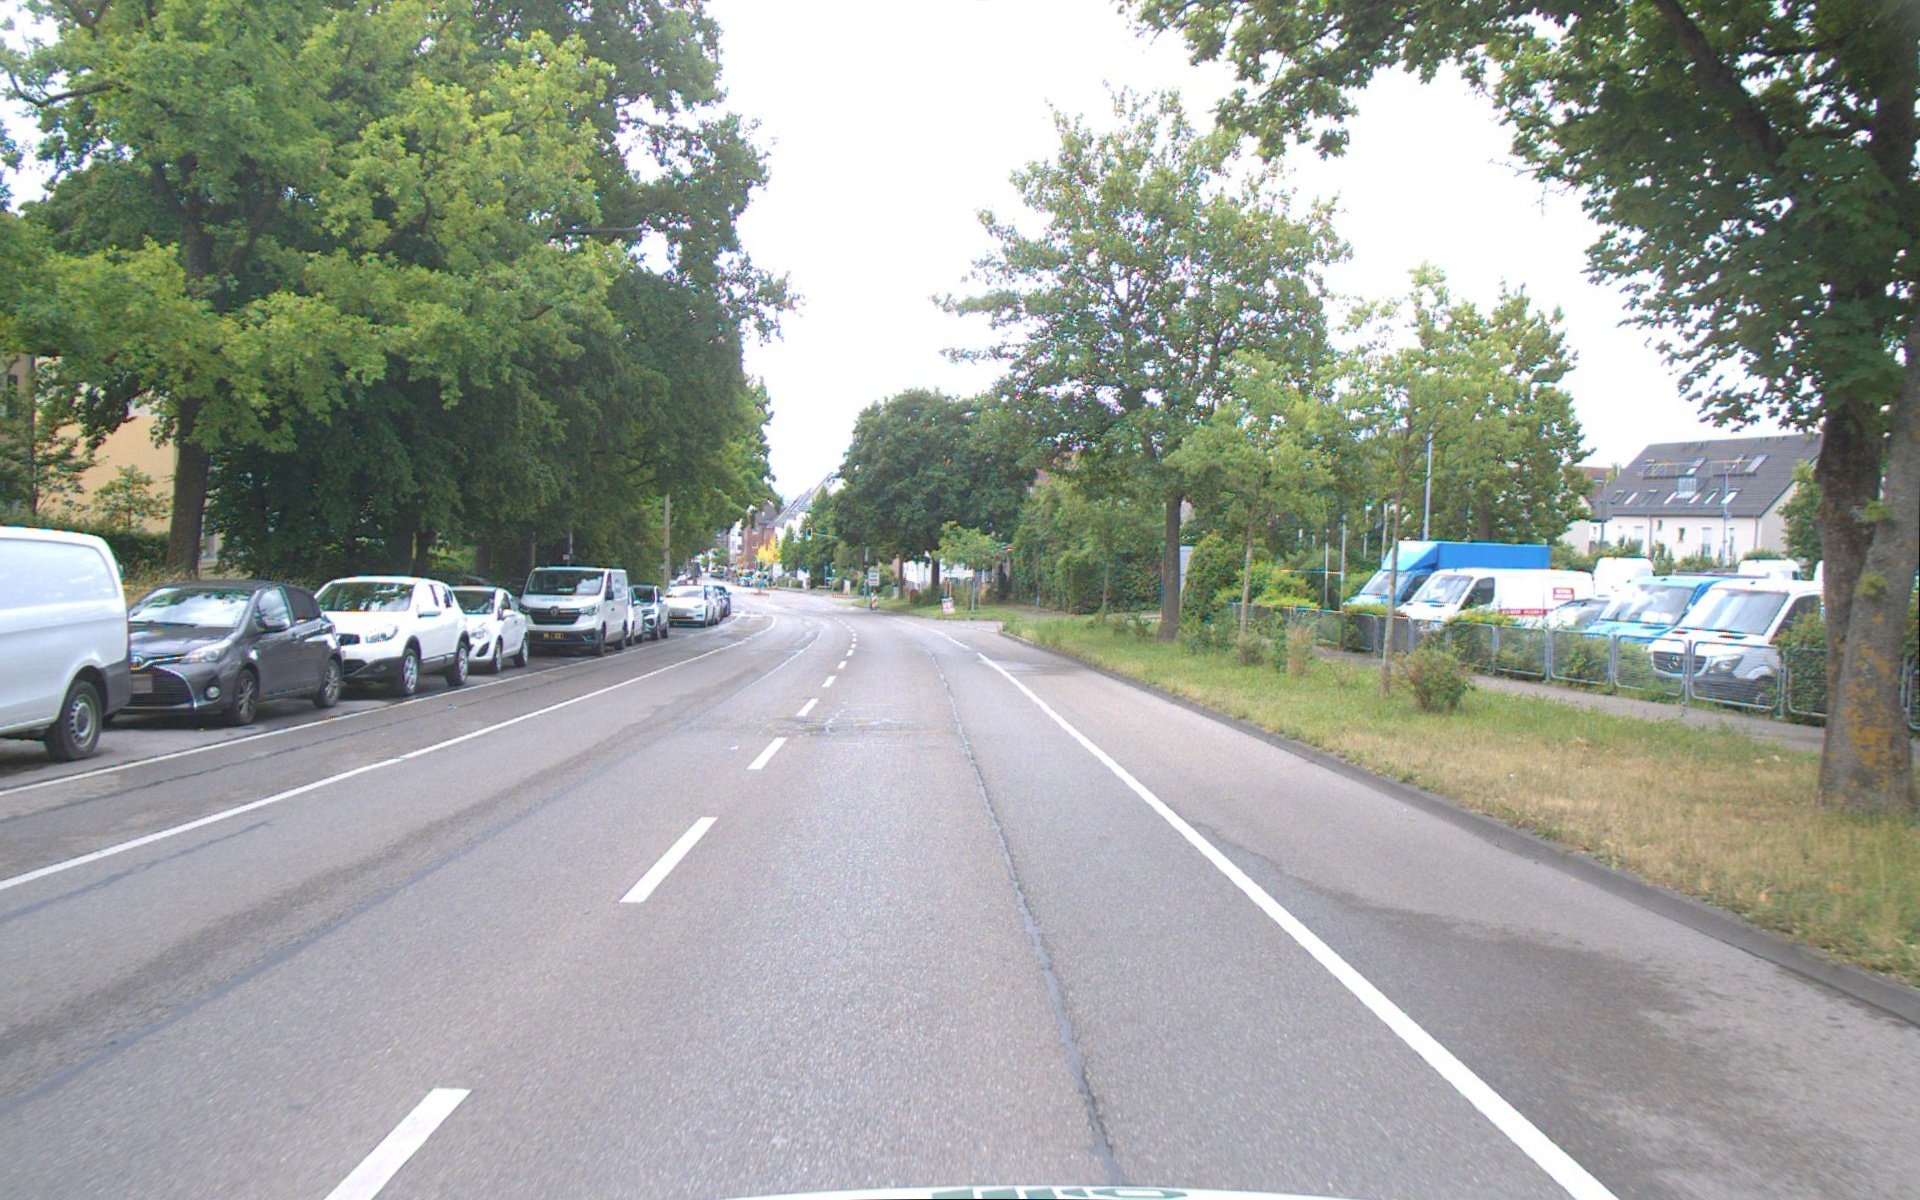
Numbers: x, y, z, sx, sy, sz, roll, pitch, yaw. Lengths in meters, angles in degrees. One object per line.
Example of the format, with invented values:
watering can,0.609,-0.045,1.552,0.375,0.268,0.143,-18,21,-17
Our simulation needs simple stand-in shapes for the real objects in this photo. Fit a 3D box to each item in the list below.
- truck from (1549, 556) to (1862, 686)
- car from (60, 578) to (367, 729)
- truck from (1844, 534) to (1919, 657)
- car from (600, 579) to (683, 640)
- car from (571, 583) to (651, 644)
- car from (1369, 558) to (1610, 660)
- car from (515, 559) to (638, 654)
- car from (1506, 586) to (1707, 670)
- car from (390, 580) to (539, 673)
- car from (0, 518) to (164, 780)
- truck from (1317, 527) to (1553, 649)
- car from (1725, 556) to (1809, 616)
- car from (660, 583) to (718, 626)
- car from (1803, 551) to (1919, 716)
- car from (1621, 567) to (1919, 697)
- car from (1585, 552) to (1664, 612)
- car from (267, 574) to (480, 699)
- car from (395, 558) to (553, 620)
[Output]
truck,14.291,0.429,31.592,6.166,2.251,2.225,2,0,-30
car,-8.237,0.526,18.660,1.639,1.514,4.044,0,0,0
truck,29.254,-0.061,45.821,2.804,3.519,9.510,2,0,-13
car,-9.306,0.251,48.602,1.731,1.662,4.156,1,0,-2
car,-9.170,0.326,43.698,1.550,1.507,3.716,1,0,-4
car,13.784,0.246,43.004,5.935,2.408,2.344,2,0,-26
car,-8.742,0.123,38.095,1.829,1.998,5.124,1,0,-3
car,13.945,0.608,35.660,3.943,1.658,1.981,2,0,-30
car,-8.743,0.433,29.507,1.629,1.505,4.087,1,0,-4
car,-8.055,0.340,12.342,1.732,1.964,5.154,2,1,-1
truck,14.663,-0.341,50.963,7.076,3.538,2.597,1,1,-26
car,38.958,-0.737,79.778,2.223,2.723,5.417,2,3,42
car,-10.585,0.173,64.922,1.732,1.600,4.756,1,0,-3
car,14.918,0.519,24.055,5.181,2.226,2.054,2,0,-27
car,14.123,0.555,27.933,5.731,1.991,2.057,2,0,-24
car,32.541,-0.934,80.923,2.218,2.723,5.428,2,3,37
car,-8.173,0.458,23.454,1.639,1.592,4.279,1,0,-3
car,-15.082,-0.342,51.562,4.349,1.475,1.866,6,0,-7
